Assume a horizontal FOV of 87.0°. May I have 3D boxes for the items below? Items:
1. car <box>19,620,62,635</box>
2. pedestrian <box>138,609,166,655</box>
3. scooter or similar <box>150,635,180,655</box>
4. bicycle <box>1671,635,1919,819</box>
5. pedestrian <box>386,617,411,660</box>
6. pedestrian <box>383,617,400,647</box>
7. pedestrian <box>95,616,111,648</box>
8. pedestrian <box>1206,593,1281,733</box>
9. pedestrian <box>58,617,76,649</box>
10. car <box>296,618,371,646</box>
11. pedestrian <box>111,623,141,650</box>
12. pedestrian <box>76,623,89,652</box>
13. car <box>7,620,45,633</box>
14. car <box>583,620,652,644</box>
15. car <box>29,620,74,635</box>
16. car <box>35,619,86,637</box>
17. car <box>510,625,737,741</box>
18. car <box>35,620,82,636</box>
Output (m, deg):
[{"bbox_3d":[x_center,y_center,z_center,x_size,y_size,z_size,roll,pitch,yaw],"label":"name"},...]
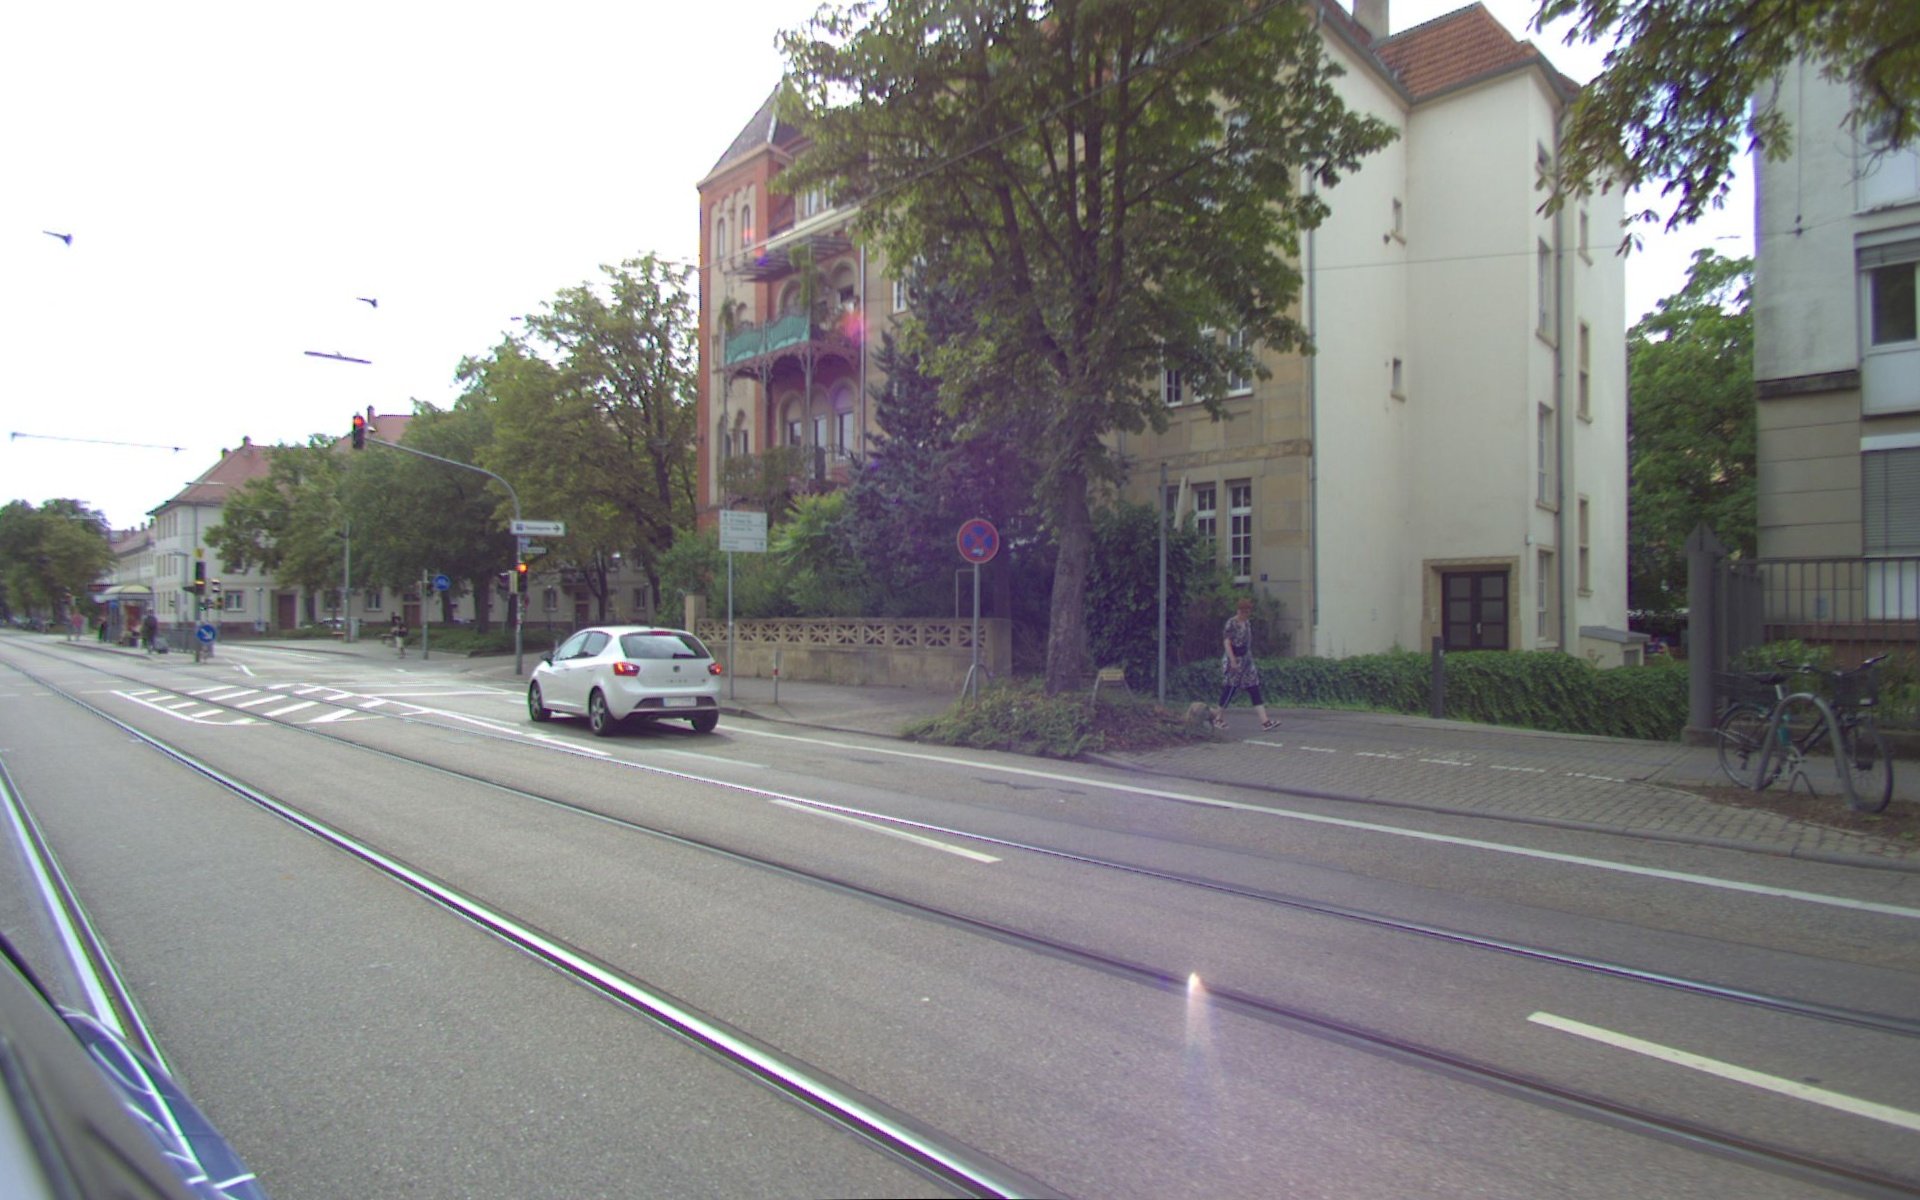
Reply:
[{"bbox_3d":[-116.170,3.422,127.873,3.940,1.739,1.878,0,-1,-44],"label":"car"},{"bbox_3d":[-30.243,1.179,37.889,0.815,1.703,0.675,-1,-2,43],"label":"pedestrian"},{"bbox_3d":[-29.510,1.671,37.574,0.659,0.718,0.605,1,-2,-15],"label":"scooter or similar"},{"bbox_3d":[6.705,0.912,8.060,0.826,1.184,2.229,-1,0,11],"label":"bicycle"},{"bbox_3d":[-22.610,1.555,40.752,0.711,1.703,0.646,-1,-2,40],"label":"pedestrian"},{"bbox_3d":[-39.319,2.181,70.023,0.850,2.029,0.766,-1,-1,-12],"label":"pedestrian"},{"bbox_3d":[-46.497,1.725,54.899,0.618,1.716,0.580,-1,-1,40],"label":"pedestrian"},{"bbox_3d":[3.686,0.789,13.158,0.700,1.749,0.698,-1,-1,39],"label":"pedestrian"},{"bbox_3d":[-52.490,1.945,59.496,0.463,1.848,0.651,-1,-1,31],"label":"pedestrian"},{"bbox_3d":[-44.168,2.238,71.425,4.130,1.879,1.858,-1,0,-11],"label":"car"},{"bbox_3d":[-40.755,1.772,49.461,0.723,1.246,1.019,-1,-1,42],"label":"pedestrian"},{"bbox_3d":[-52.048,2.233,60.007,0.400,1.716,0.496,-1,-1,31],"label":"pedestrian"},{"bbox_3d":[-130.192,3.720,141.080,3.940,1.739,1.878,0,-1,-44],"label":"car"},{"bbox_3d":[-20.775,1.933,61.389,4.298,1.415,1.684,-1,-2,33],"label":"car"},{"bbox_3d":[-108.446,3.259,120.771,3.940,1.739,1.878,0,-1,-44],"label":"car"},{"bbox_3d":[-94.768,2.960,106.635,3.940,1.739,1.878,0,-1,-44],"label":"car"},{"bbox_3d":[-4.909,1.094,14.452,1.552,1.427,4.004,4,-4,-42],"label":"car"},{"bbox_3d":[-101.103,3.101,113.518,3.940,1.739,1.878,0,-1,-44],"label":"car"}]
